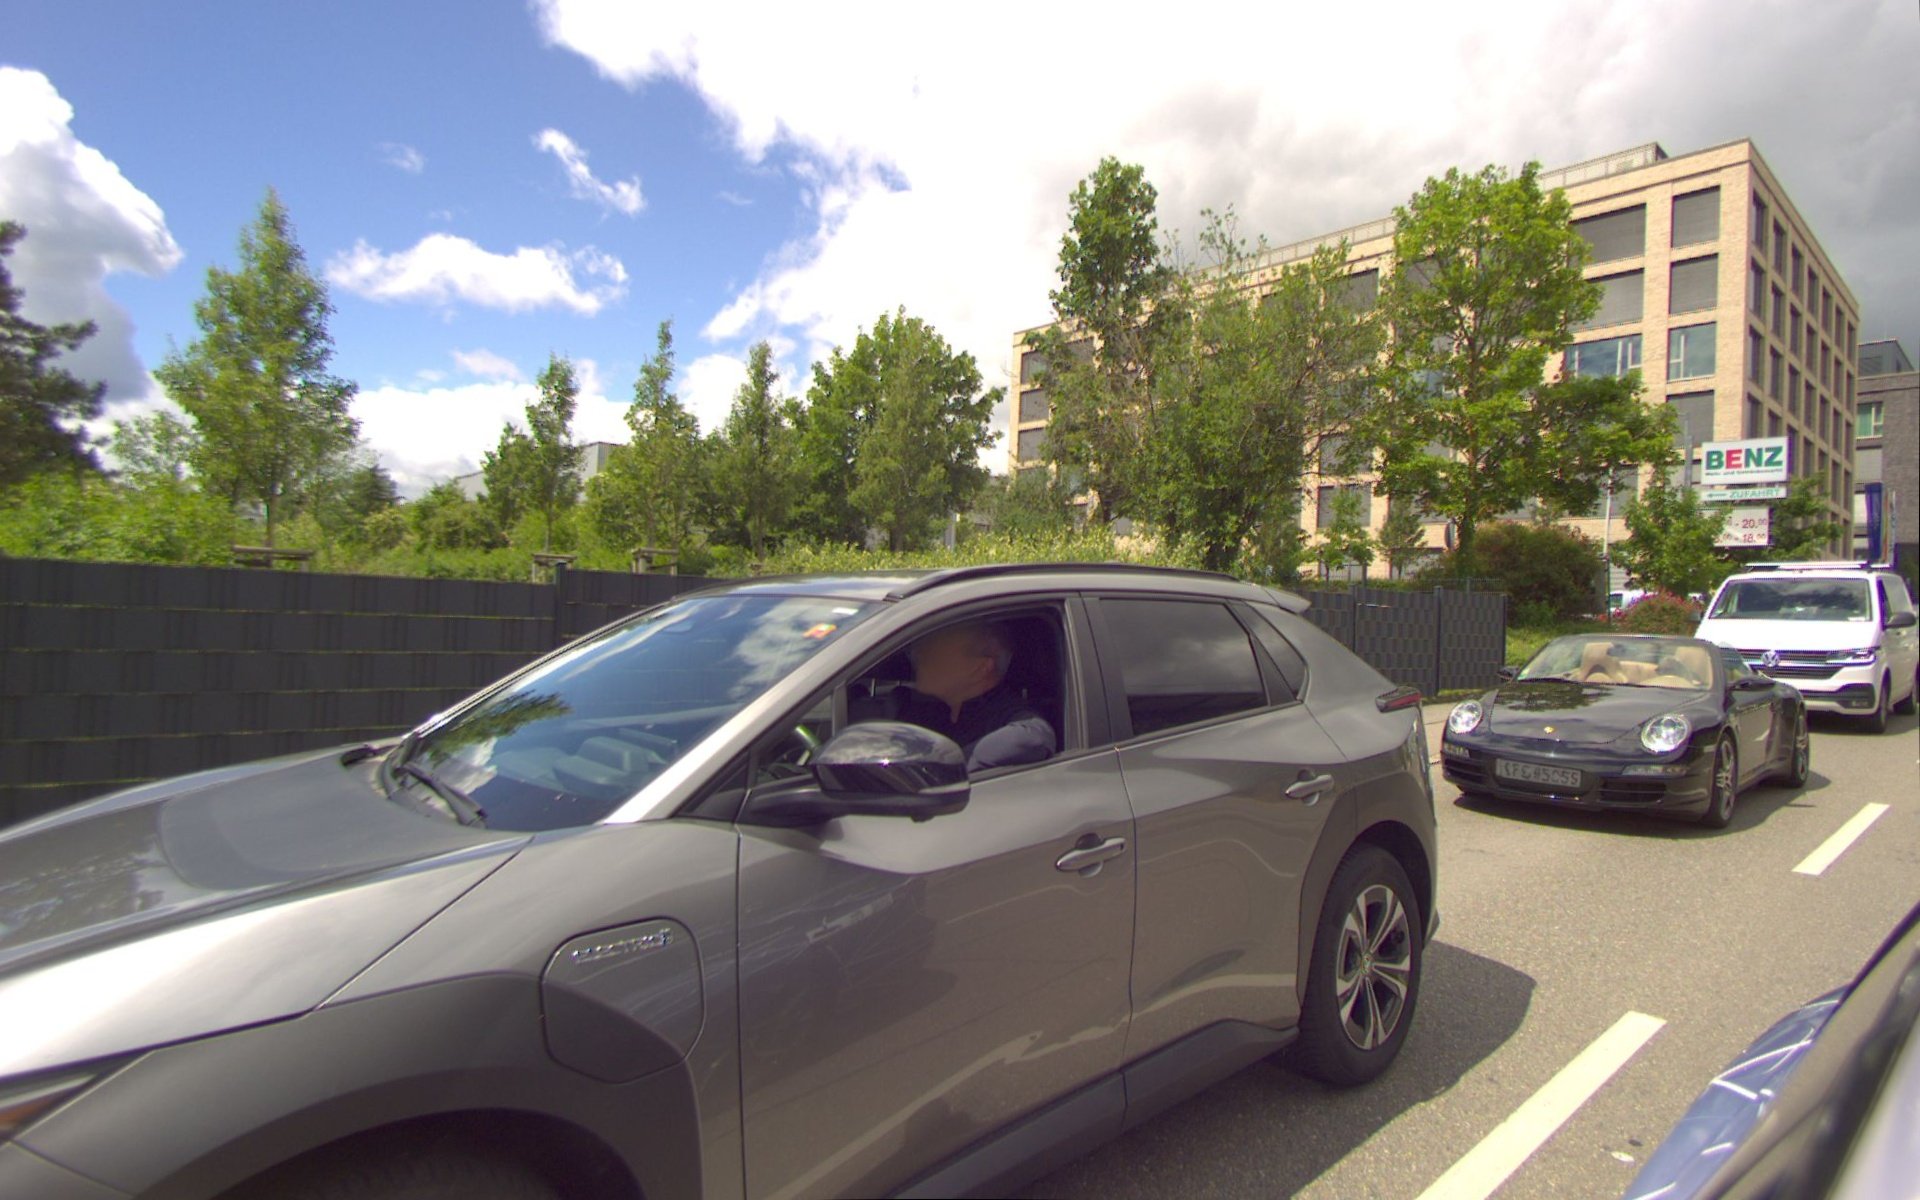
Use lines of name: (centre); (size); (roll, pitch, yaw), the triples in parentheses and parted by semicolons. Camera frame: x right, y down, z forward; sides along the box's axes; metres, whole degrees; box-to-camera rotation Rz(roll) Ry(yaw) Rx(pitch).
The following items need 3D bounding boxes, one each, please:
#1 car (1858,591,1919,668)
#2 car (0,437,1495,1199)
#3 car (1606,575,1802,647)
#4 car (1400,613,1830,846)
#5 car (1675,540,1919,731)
car: (20.253, 0.583, 21.068); (3.930, 1.481, 1.817); (0, 2, -41)
car: (-0.355, 0.628, 3.016); (4.501, 1.649, 1.997); (0, 1, -42)
car: (19.904, 0.229, 27.177); (1.793, 1.754, 3.991); (0, 2, -44)
car: (5.299, 0.793, 7.987); (3.967, 1.310, 1.823); (0, 0, -41)
car: (11.349, 0.377, 13.348); (4.677, 2.075, 2.087); (0, 0, -41)
